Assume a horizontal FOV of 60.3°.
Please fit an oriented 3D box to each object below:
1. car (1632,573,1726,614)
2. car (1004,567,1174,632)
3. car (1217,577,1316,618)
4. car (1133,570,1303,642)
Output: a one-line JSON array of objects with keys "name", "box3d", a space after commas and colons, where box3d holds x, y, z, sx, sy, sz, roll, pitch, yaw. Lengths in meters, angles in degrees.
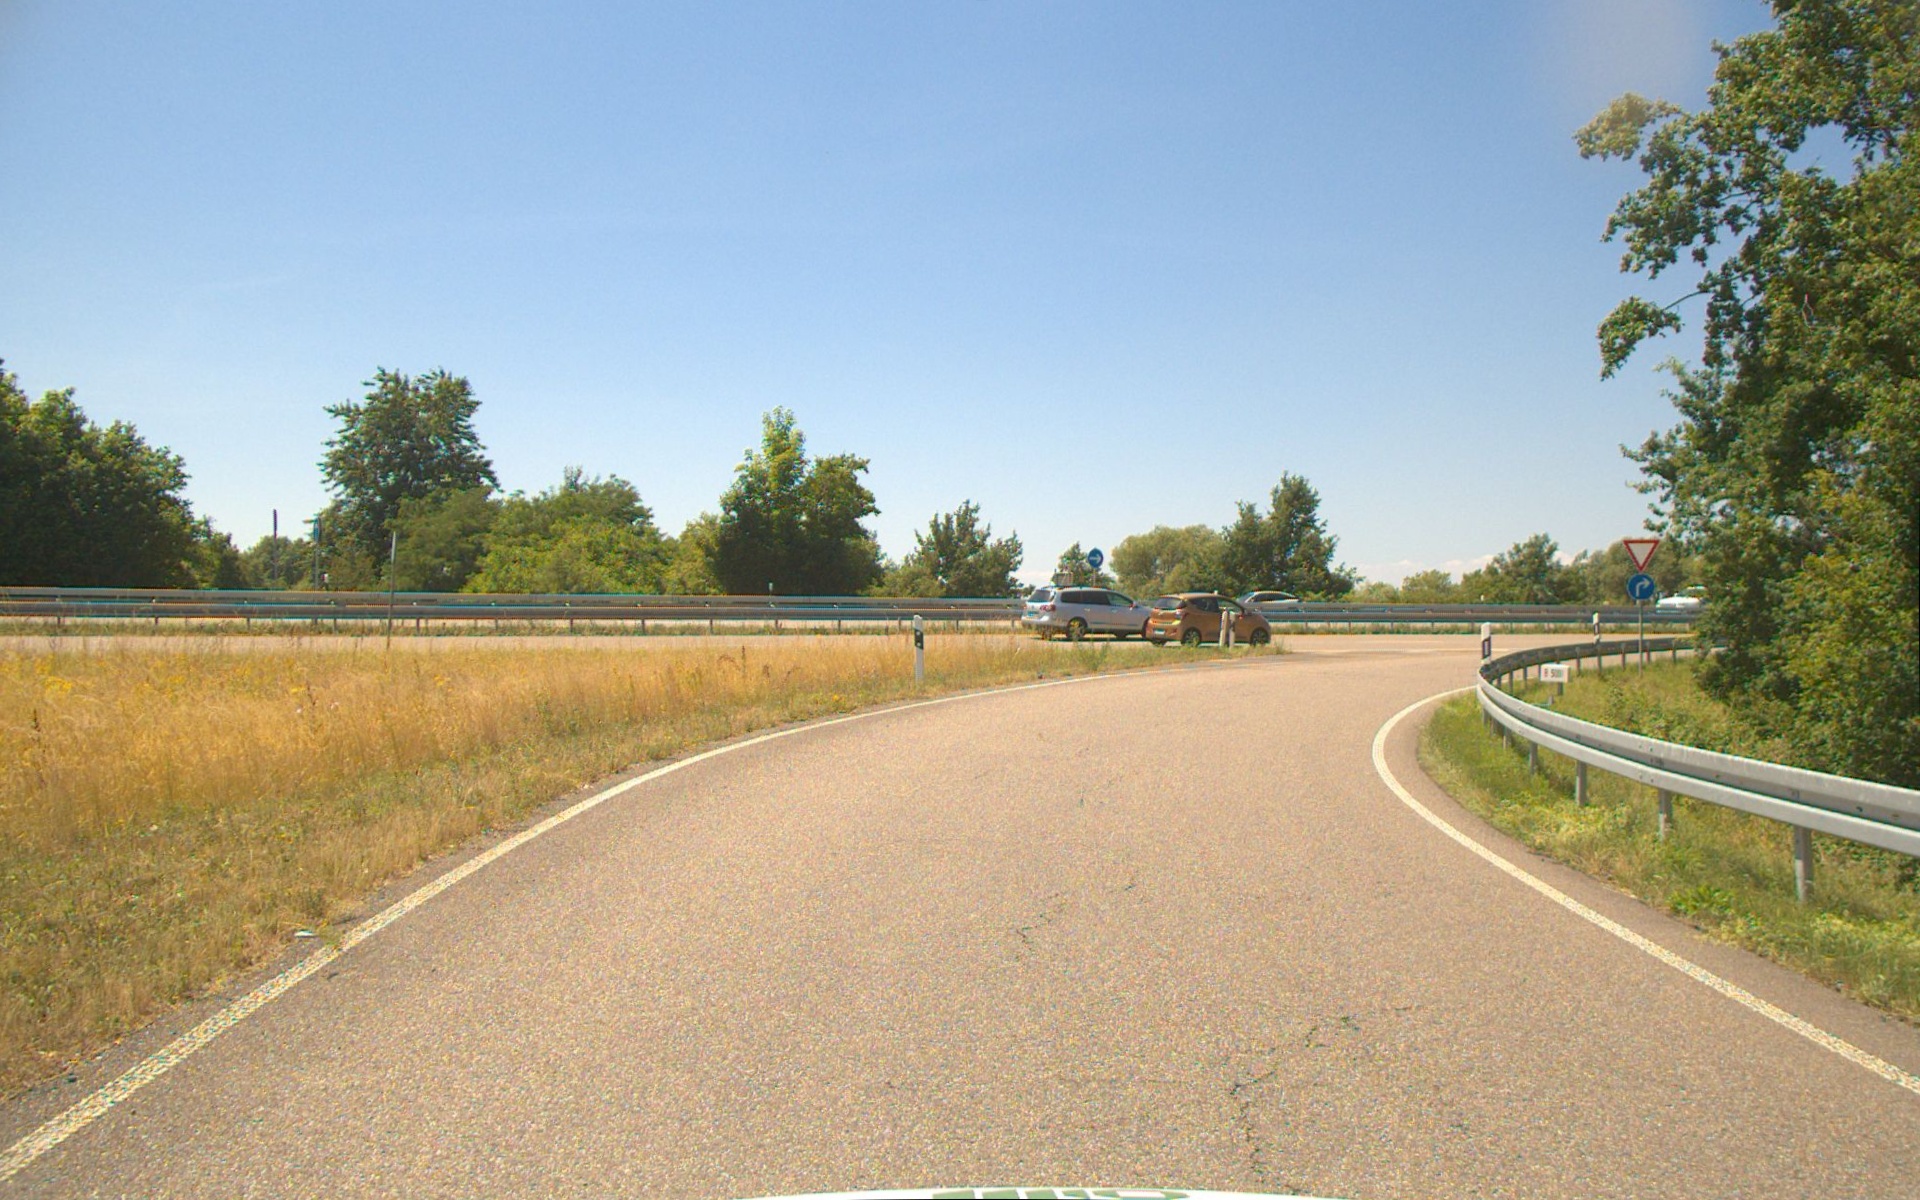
[{"name": "car", "box3d": [33.289, -0.292, 76.523, 4.352, 1.821, 1.977, 0, 1, -34]}, {"name": "car", "box3d": [3.799, -0.005, 48.552, 4.720, 1.821, 1.980, 0, 1, -31]}, {"name": "car", "box3d": [14.028, -0.111, 75.881, 4.027, 1.780, 1.996, 1, 1, -10]}, {"name": "car", "box3d": [7.214, 0.188, 46.160, 4.467, 1.821, 1.980, 2, -1, -31]}]
